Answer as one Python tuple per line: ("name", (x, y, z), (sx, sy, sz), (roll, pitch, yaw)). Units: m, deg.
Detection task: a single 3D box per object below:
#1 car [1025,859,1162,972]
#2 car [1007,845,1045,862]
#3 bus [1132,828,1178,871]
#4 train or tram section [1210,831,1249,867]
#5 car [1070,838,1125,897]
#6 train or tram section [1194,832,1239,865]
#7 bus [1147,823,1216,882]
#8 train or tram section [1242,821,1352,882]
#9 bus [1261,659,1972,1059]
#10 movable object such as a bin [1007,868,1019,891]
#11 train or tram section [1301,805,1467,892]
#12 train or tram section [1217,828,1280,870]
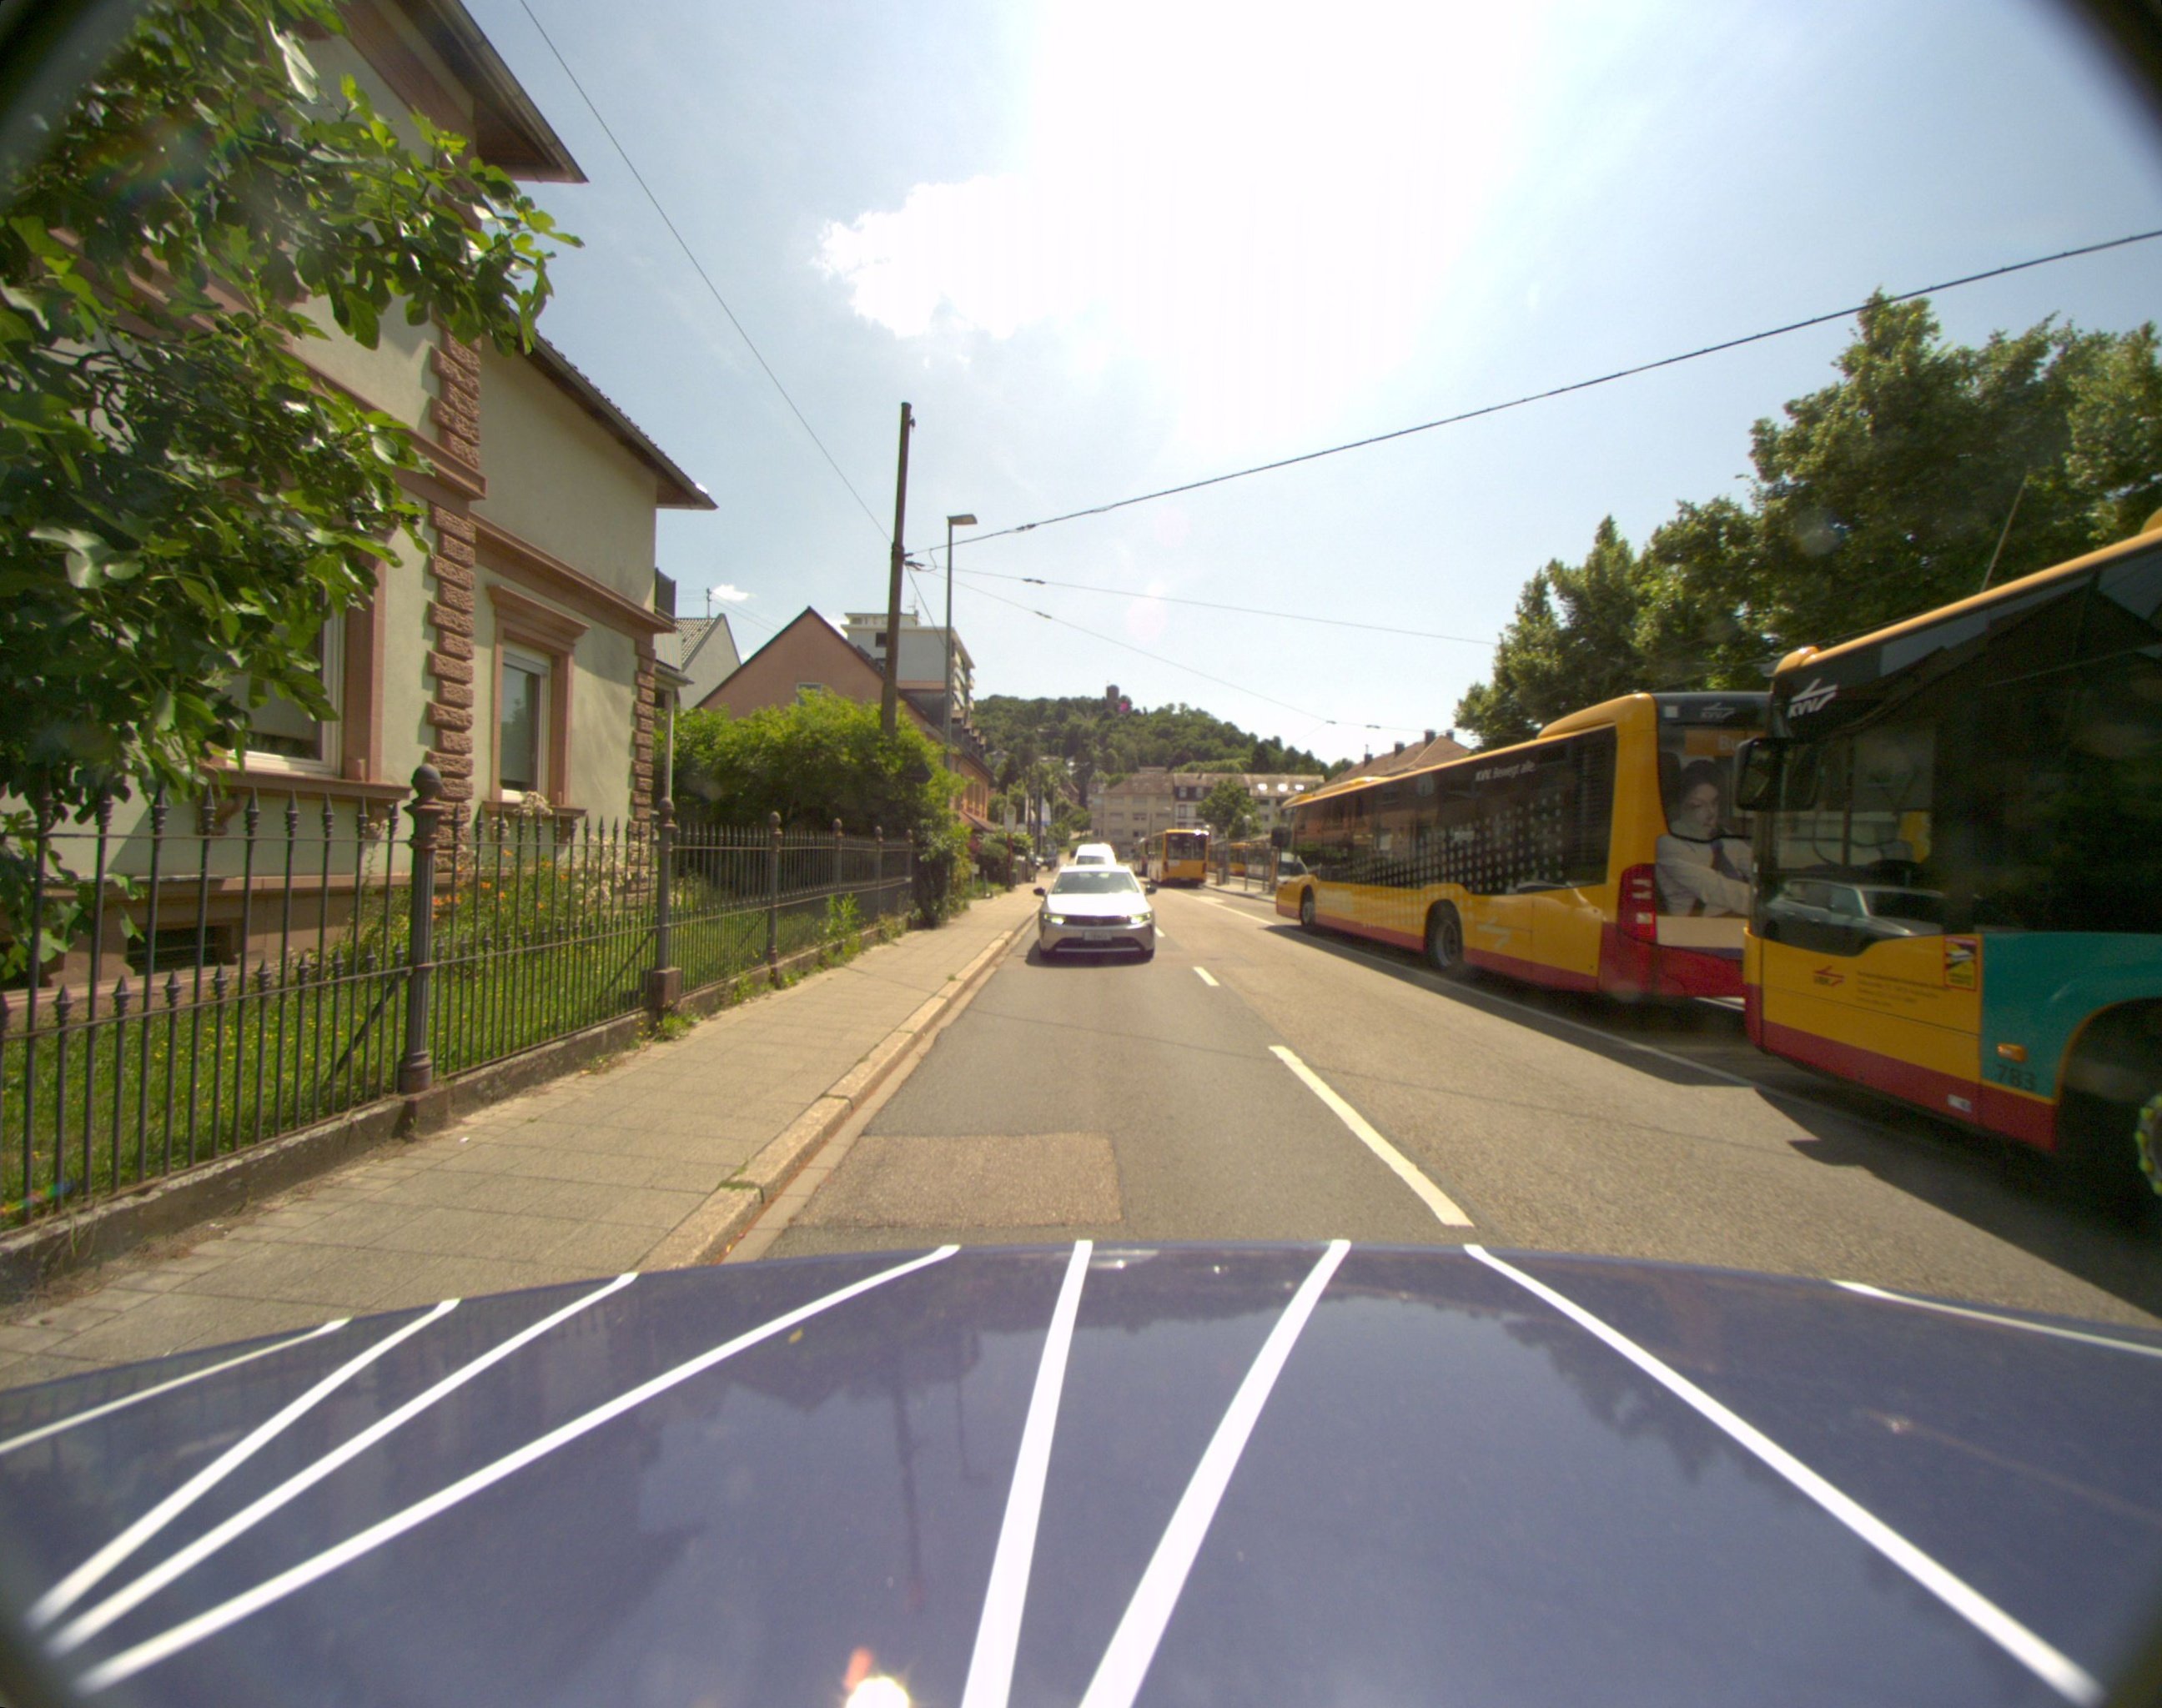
("car", (0.319, 0.829, 12.291), (1.818, 1.371, 4.392), (0, 1, 4))
("car", (-6.278, -0.059, 86.621), (4.277, 1.780, 1.827), (1, 3, 40))
("bus", (6.405, -0.384, 67.762), (2.915, 3.407, 12.039), (-1, 0, 0))
("train or tram section", (15.063, -0.566, 77.403), (2.971, 3.475, 4.416), (2, 1, 0))
("car", (0.607, 0.479, 32.956), (1.999, 2.259, 5.441), (-1, 2, -3))
("train or tram section", (15.123, -0.674, 85.882), (2.971, 3.475, 12.710), (-1, 1, 0))
("bus", (6.059, -0.276, 47.903), (2.905, 3.229, 12.192), (-1, 2, 1))
("train or tram section", (14.782, -0.292, 54.192), (2.971, 3.622, 17.348), (-1, 1, 0))
("bus", (5.802, -0.046, 12.262), (2.915, 3.229, 12.115), (-1, 1, 0))
("movable object such as a bin", (-2.822, 1.071, 31.752), (0.407, 0.902, 0.729), (4, 2, -3))
("train or tram section", (14.666, -0.338, 38.686), (2.971, 3.622, 13.991), (-1, 1, 0))
("train or tram section", (14.975, -0.521, 68.960), (2.971, 3.475, 12.654), (-1, 1, 0))
